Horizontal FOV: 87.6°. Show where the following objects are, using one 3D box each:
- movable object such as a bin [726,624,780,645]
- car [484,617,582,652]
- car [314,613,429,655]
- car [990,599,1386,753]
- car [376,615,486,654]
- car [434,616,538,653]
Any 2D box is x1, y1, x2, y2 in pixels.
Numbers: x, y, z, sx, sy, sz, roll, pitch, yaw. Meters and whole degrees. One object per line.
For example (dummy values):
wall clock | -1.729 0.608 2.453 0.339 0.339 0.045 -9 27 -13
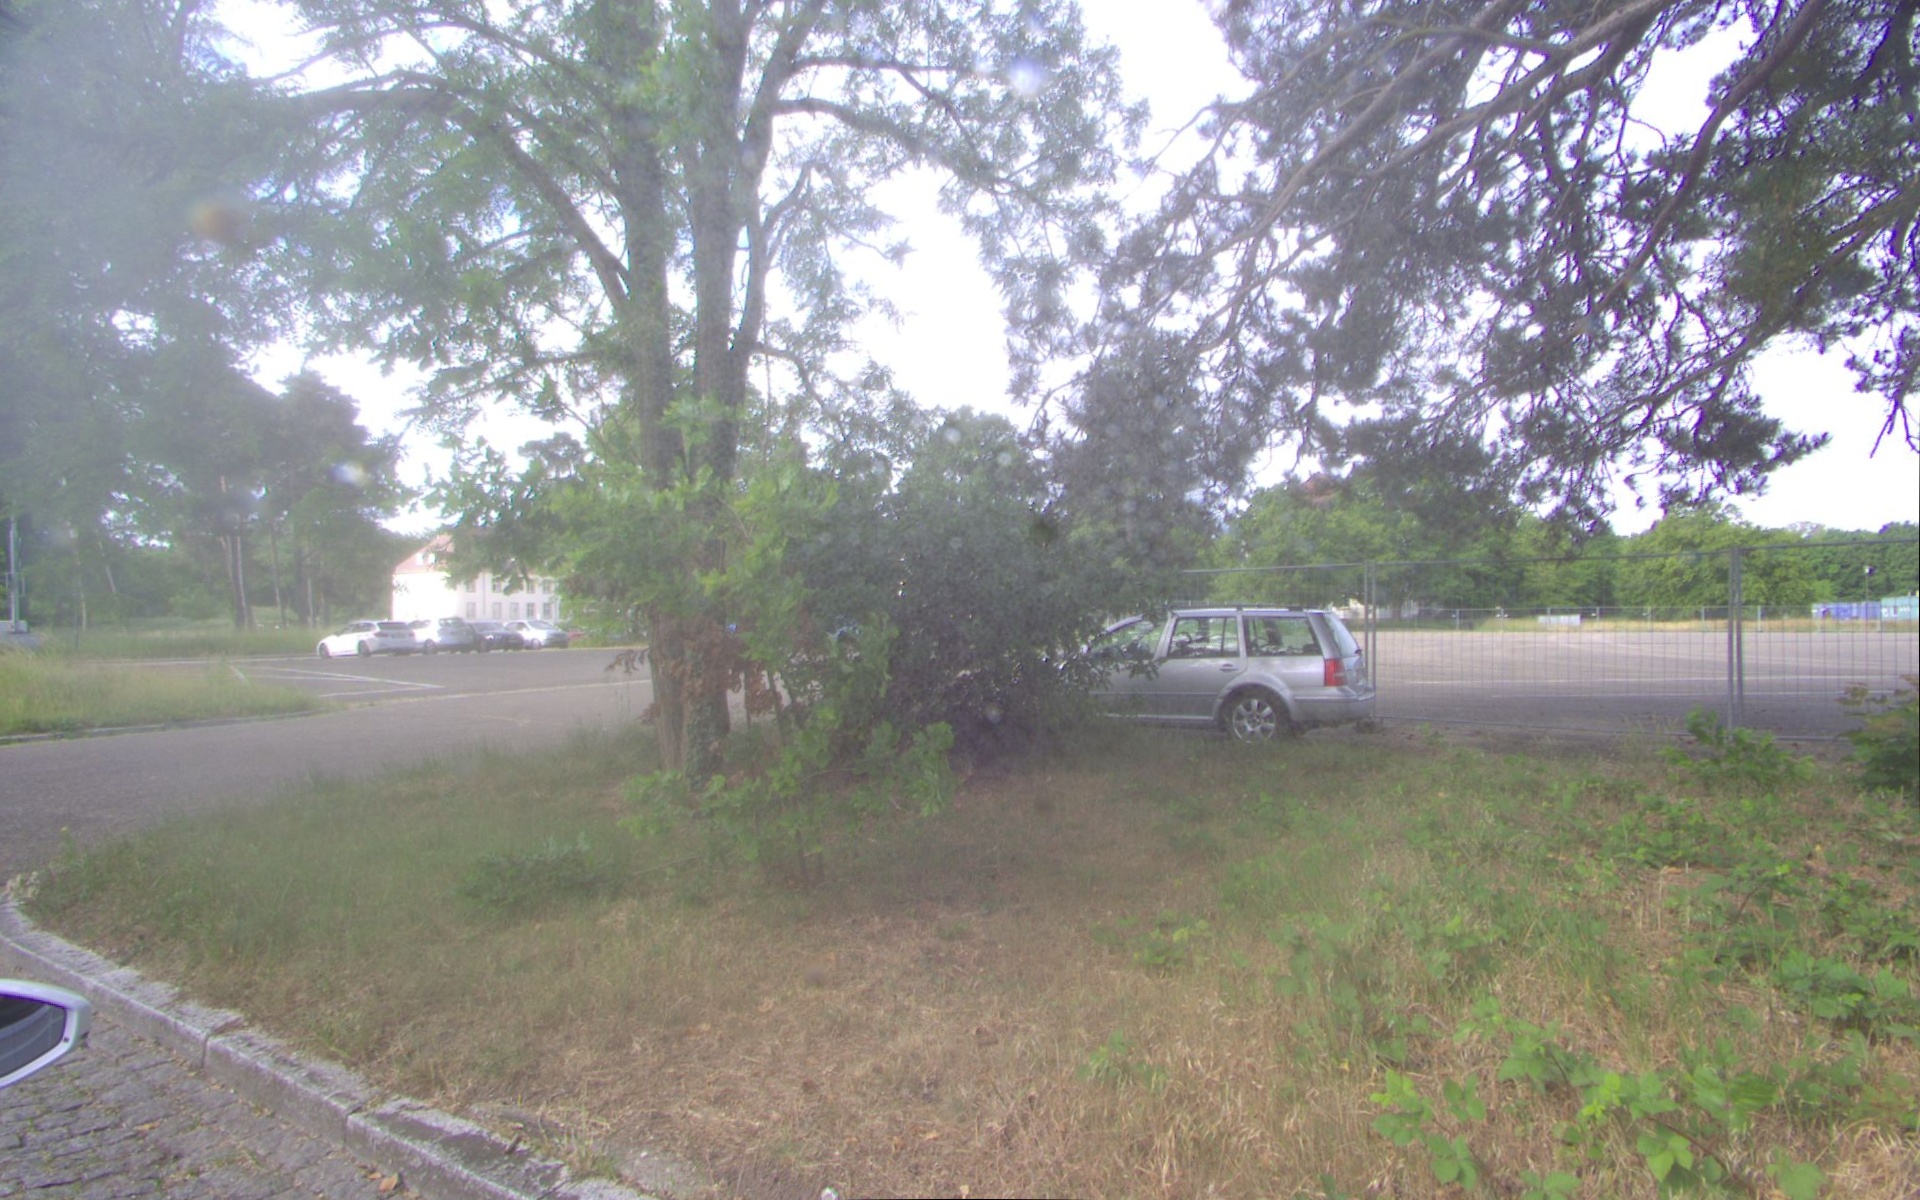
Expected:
movable object such as a bin | -8.421 1.389 40.687 1.928 0.836 1.181 -1 -1 37
car | -20.002 1.634 46.900 4.359 1.542 1.992 -2 -3 29
car | -23.365 1.351 39.741 4.359 1.500 1.992 -2 -1 29
car | 2.485 0.790 11.187 4.014 1.444 1.645 -1 -3 31
car | -22.184 1.446 41.969 4.359 1.500 1.992 -2 -1 29
car | -21.017 1.548 44.385 4.359 1.500 1.992 -2 -1 29
